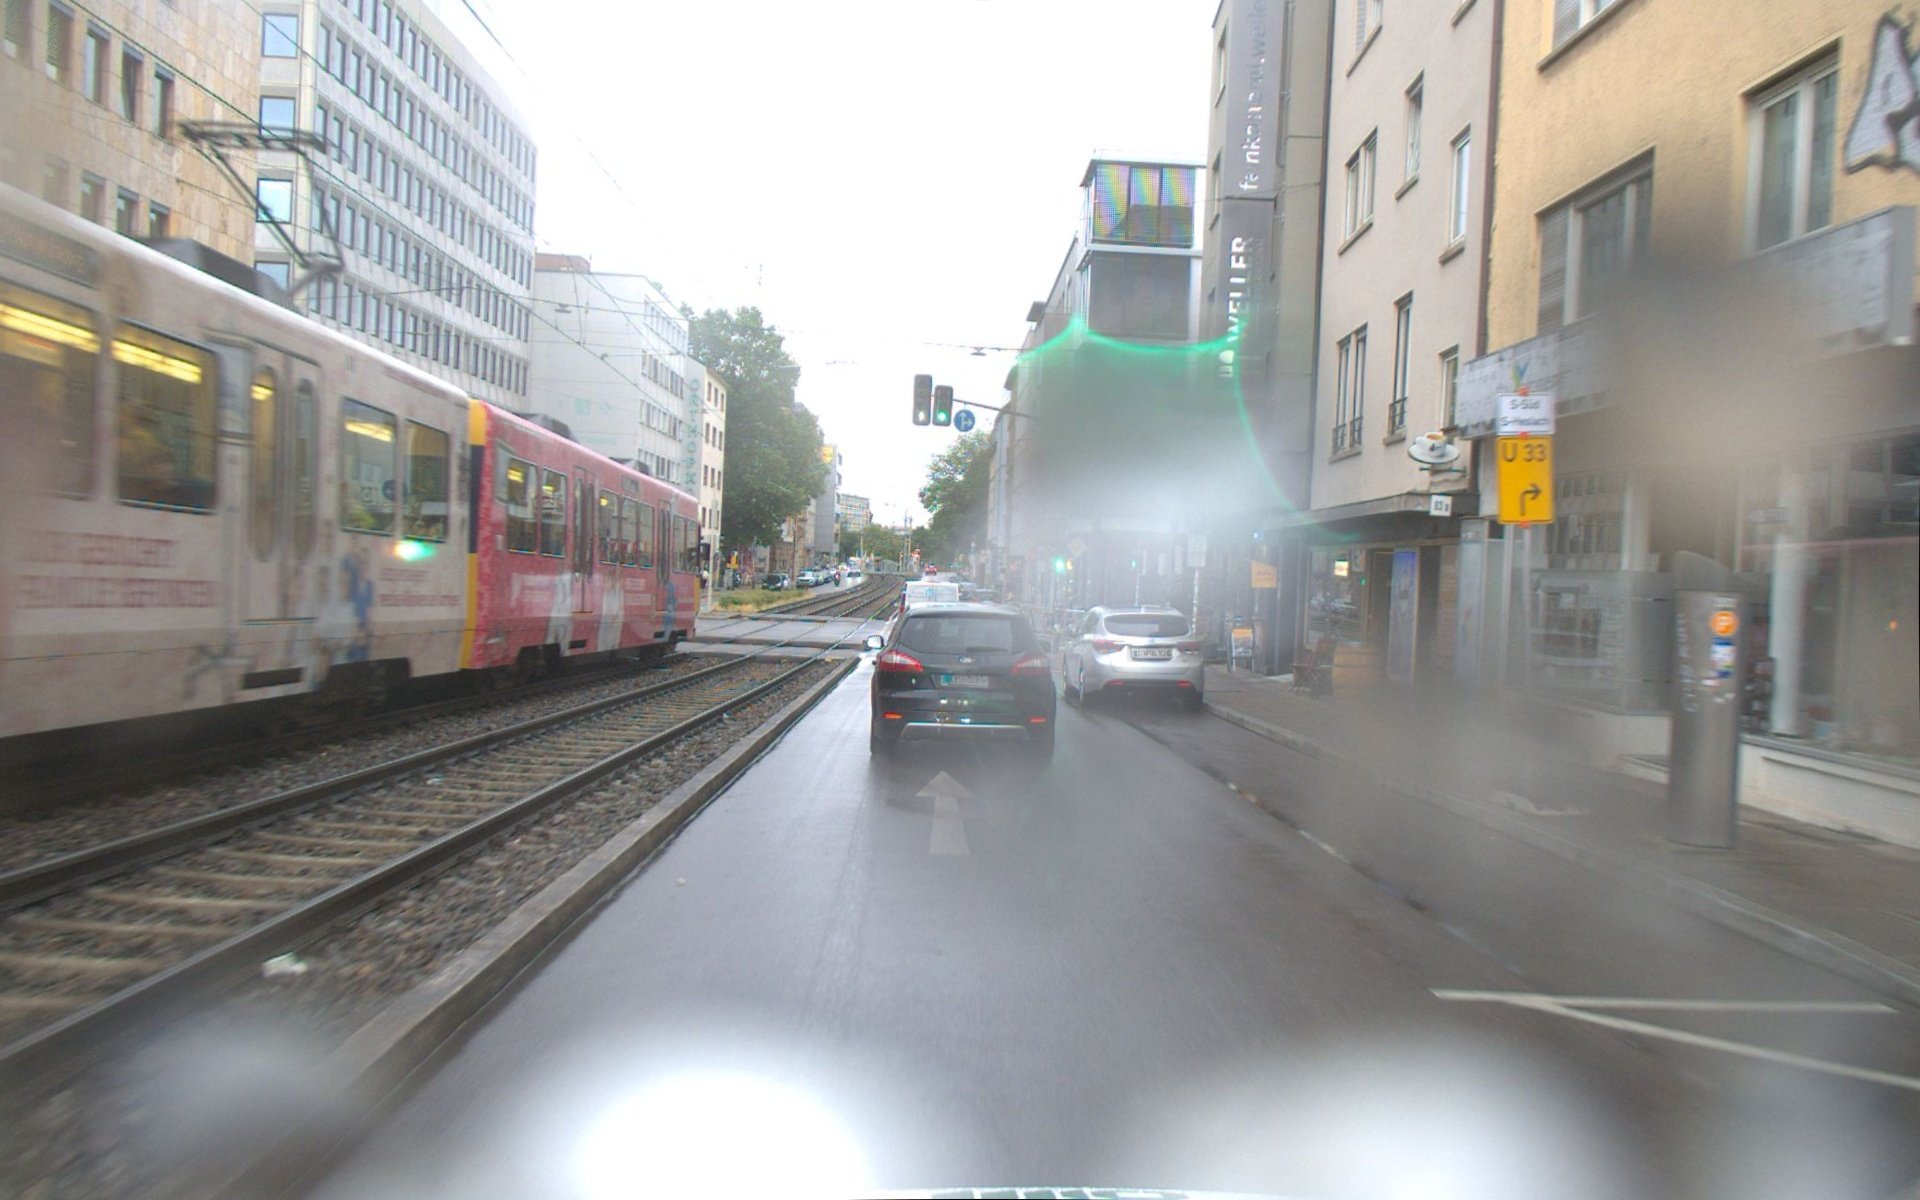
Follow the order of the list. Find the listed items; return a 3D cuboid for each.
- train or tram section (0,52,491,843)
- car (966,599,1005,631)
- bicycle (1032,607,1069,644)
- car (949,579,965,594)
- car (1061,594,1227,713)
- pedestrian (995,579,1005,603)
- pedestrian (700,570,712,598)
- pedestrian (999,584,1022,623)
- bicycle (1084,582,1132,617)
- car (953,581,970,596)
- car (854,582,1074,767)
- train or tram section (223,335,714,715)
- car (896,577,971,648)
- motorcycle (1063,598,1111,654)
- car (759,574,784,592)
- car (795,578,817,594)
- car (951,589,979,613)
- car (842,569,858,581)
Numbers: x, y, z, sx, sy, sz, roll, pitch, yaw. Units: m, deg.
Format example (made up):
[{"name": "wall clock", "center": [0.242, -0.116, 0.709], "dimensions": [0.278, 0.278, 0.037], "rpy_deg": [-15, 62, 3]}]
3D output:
[{"name": "train or tram section", "center": [-6.441, -0.809, 8.882], "dimensions": [2.843, 4.121, 18.407], "rpy_deg": [1, 0, -1]}, {"name": "car", "center": [1.323, 0.771, 87.596], "dimensions": [1.953, 1.621, 4.271], "rpy_deg": [1, 0, -1]}, {"name": "bicycle", "center": [3.355, 0.930, 61.438], "dimensions": [0.491, 1.280, 1.941], "rpy_deg": [2, 1, -25]}, {"name": "car", "center": [-0.343, -1.552, 187.160], "dimensions": [1.609, 1.542, 4.038], "rpy_deg": [2, 2, -2]}, {"name": "car", "center": [2.740, 0.746, 25.630], "dimensions": [1.983, 1.621, 4.620], "rpy_deg": [1, 0, -1]}, {"name": "pedestrian", "center": [3.435, -0.788, 140.967], "dimensions": [0.721, 2.048, 0.821], "rpy_deg": [2, 1, -2]}, {"name": "pedestrian", "center": [-17.637, -1.130, 115.006], "dimensions": [0.665, 1.929, 0.742], "rpy_deg": [2, 0, -1]}, {"name": "pedestrian", "center": [2.125, 0.159, 69.566], "dimensions": [0.650, 1.610, 0.774], "rpy_deg": [1, 0, -23]}, {"name": "bicycle", "center": [5.363, -0.022, 59.969], "dimensions": [0.572, 1.177, 1.931], "rpy_deg": [2, 1, -37]}, {"name": "car", "center": [0.136, -1.284, 182.441], "dimensions": [1.704, 1.514, 3.999], "rpy_deg": [2, 2, -2]}, {"name": "car", "center": [0.017, 0.667, 17.086], "dimensions": [1.953, 1.621, 4.271], "rpy_deg": [1, 0, -1]}, {"name": "train or tram section", "center": [-6.799, -0.808, 27.589], "dimensions": [2.843, 4.121, 18.763], "rpy_deg": [1, 0, -1]}, {"name": "car", "center": [-0.704, 0.328, 46.705], "dimensions": [1.952, 1.847, 4.271], "rpy_deg": [1, 0, 0]}, {"name": "motorcycle", "center": [3.456, 0.697, 45.122], "dimensions": [1.120, 1.486, 0.675], "rpy_deg": [1, 0, -38]}, {"name": "car", "center": [-16.014, -1.439, 140.820], "dimensions": [1.708, 1.494, 4.219], "rpy_deg": [1, 1, -1]}, {"name": "car", "center": [-16.183, -1.453, 173.952], "dimensions": [1.953, 1.545, 4.434], "rpy_deg": [2, 1, -1]}, {"name": "car", "center": [0.356, 0.047, 119.317], "dimensions": [1.953, 1.621, 4.571], "rpy_deg": [1, 0, -1]}, {"name": "car", "center": [-15.771, -3.624, 237.529], "dimensions": [1.953, 1.545, 4.443], "rpy_deg": [3, -1, -1]}]
